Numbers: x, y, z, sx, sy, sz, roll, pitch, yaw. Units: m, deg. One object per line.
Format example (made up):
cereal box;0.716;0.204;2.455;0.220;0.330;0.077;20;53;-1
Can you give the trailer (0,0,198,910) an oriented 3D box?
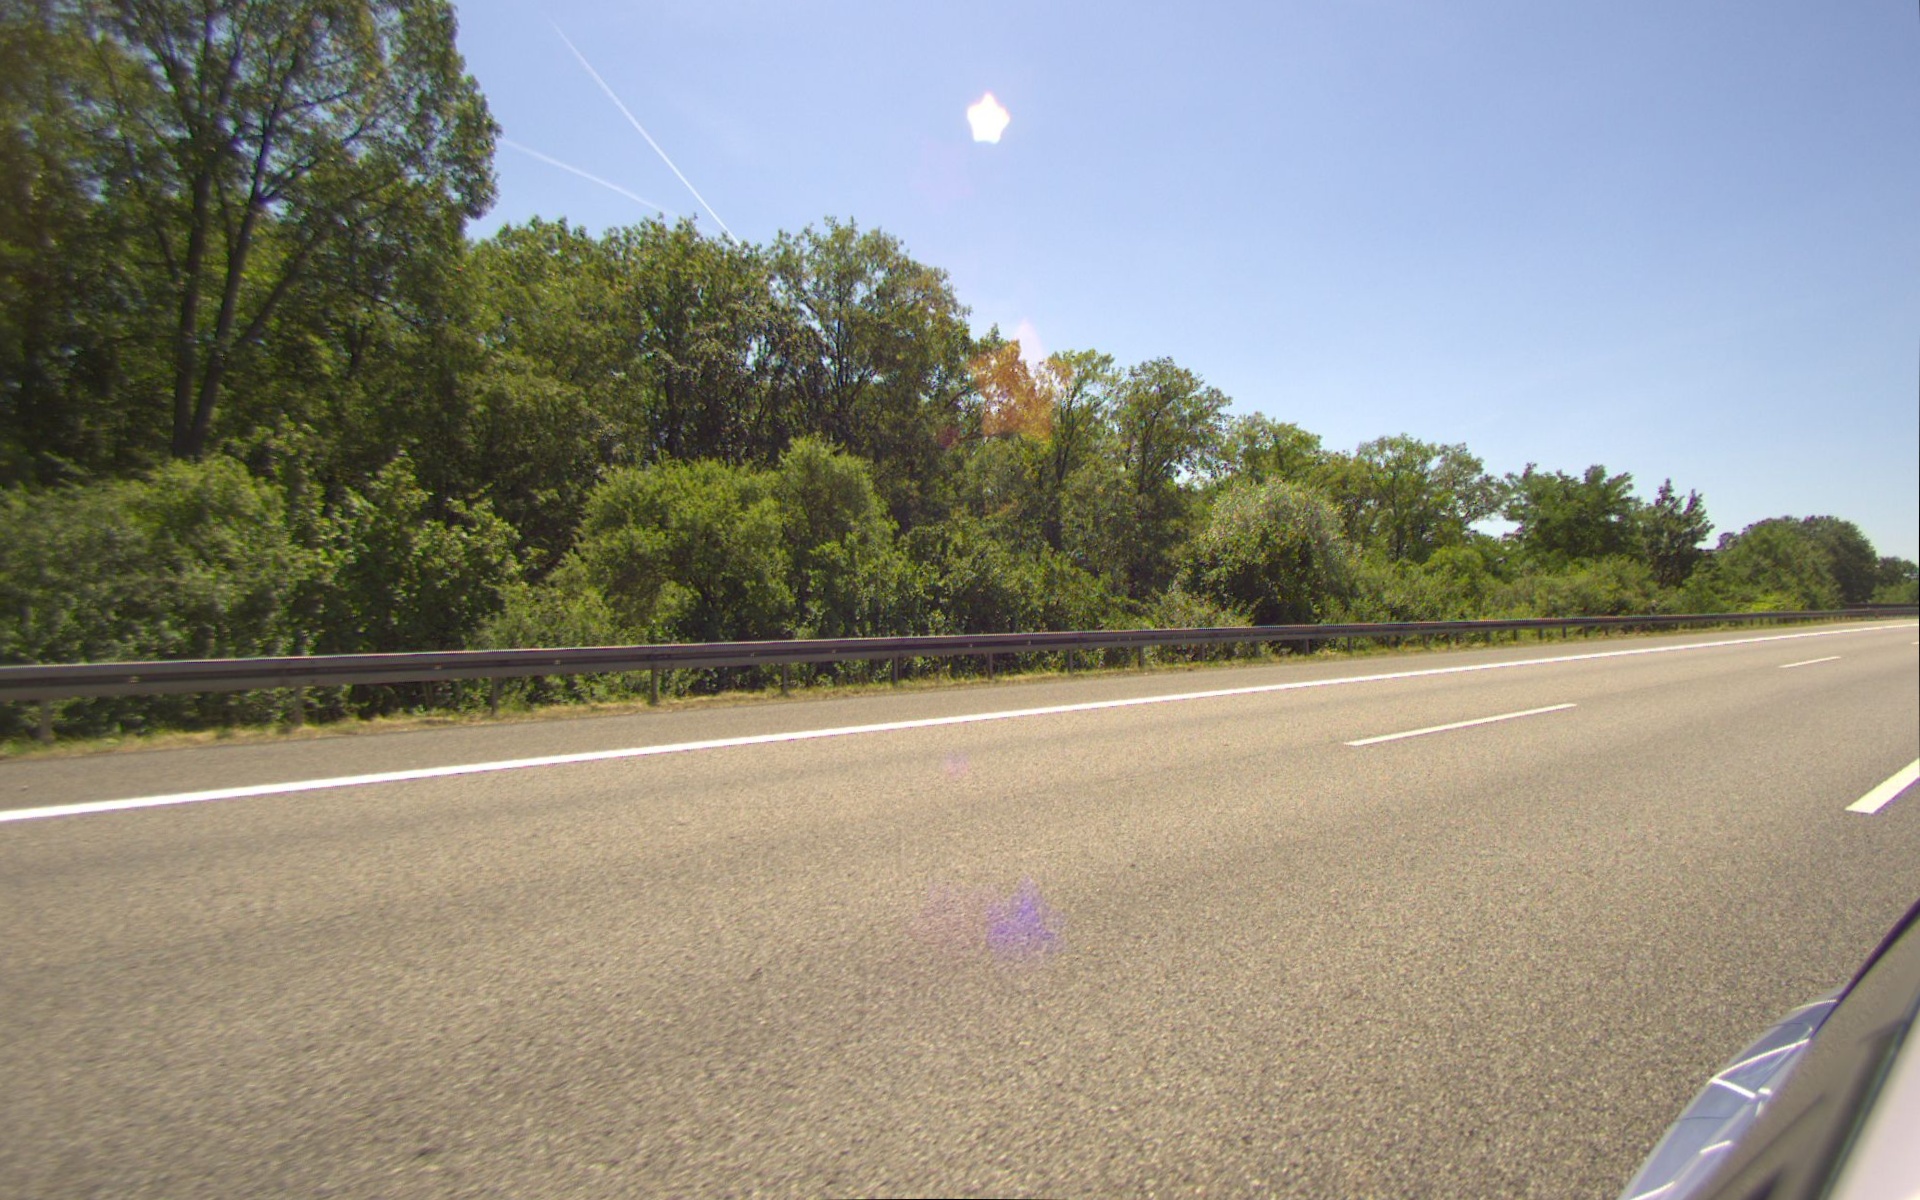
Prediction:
trailer;-8.642;-0.677;2.191;11.065;4.111;2.560;-1;0;-41
